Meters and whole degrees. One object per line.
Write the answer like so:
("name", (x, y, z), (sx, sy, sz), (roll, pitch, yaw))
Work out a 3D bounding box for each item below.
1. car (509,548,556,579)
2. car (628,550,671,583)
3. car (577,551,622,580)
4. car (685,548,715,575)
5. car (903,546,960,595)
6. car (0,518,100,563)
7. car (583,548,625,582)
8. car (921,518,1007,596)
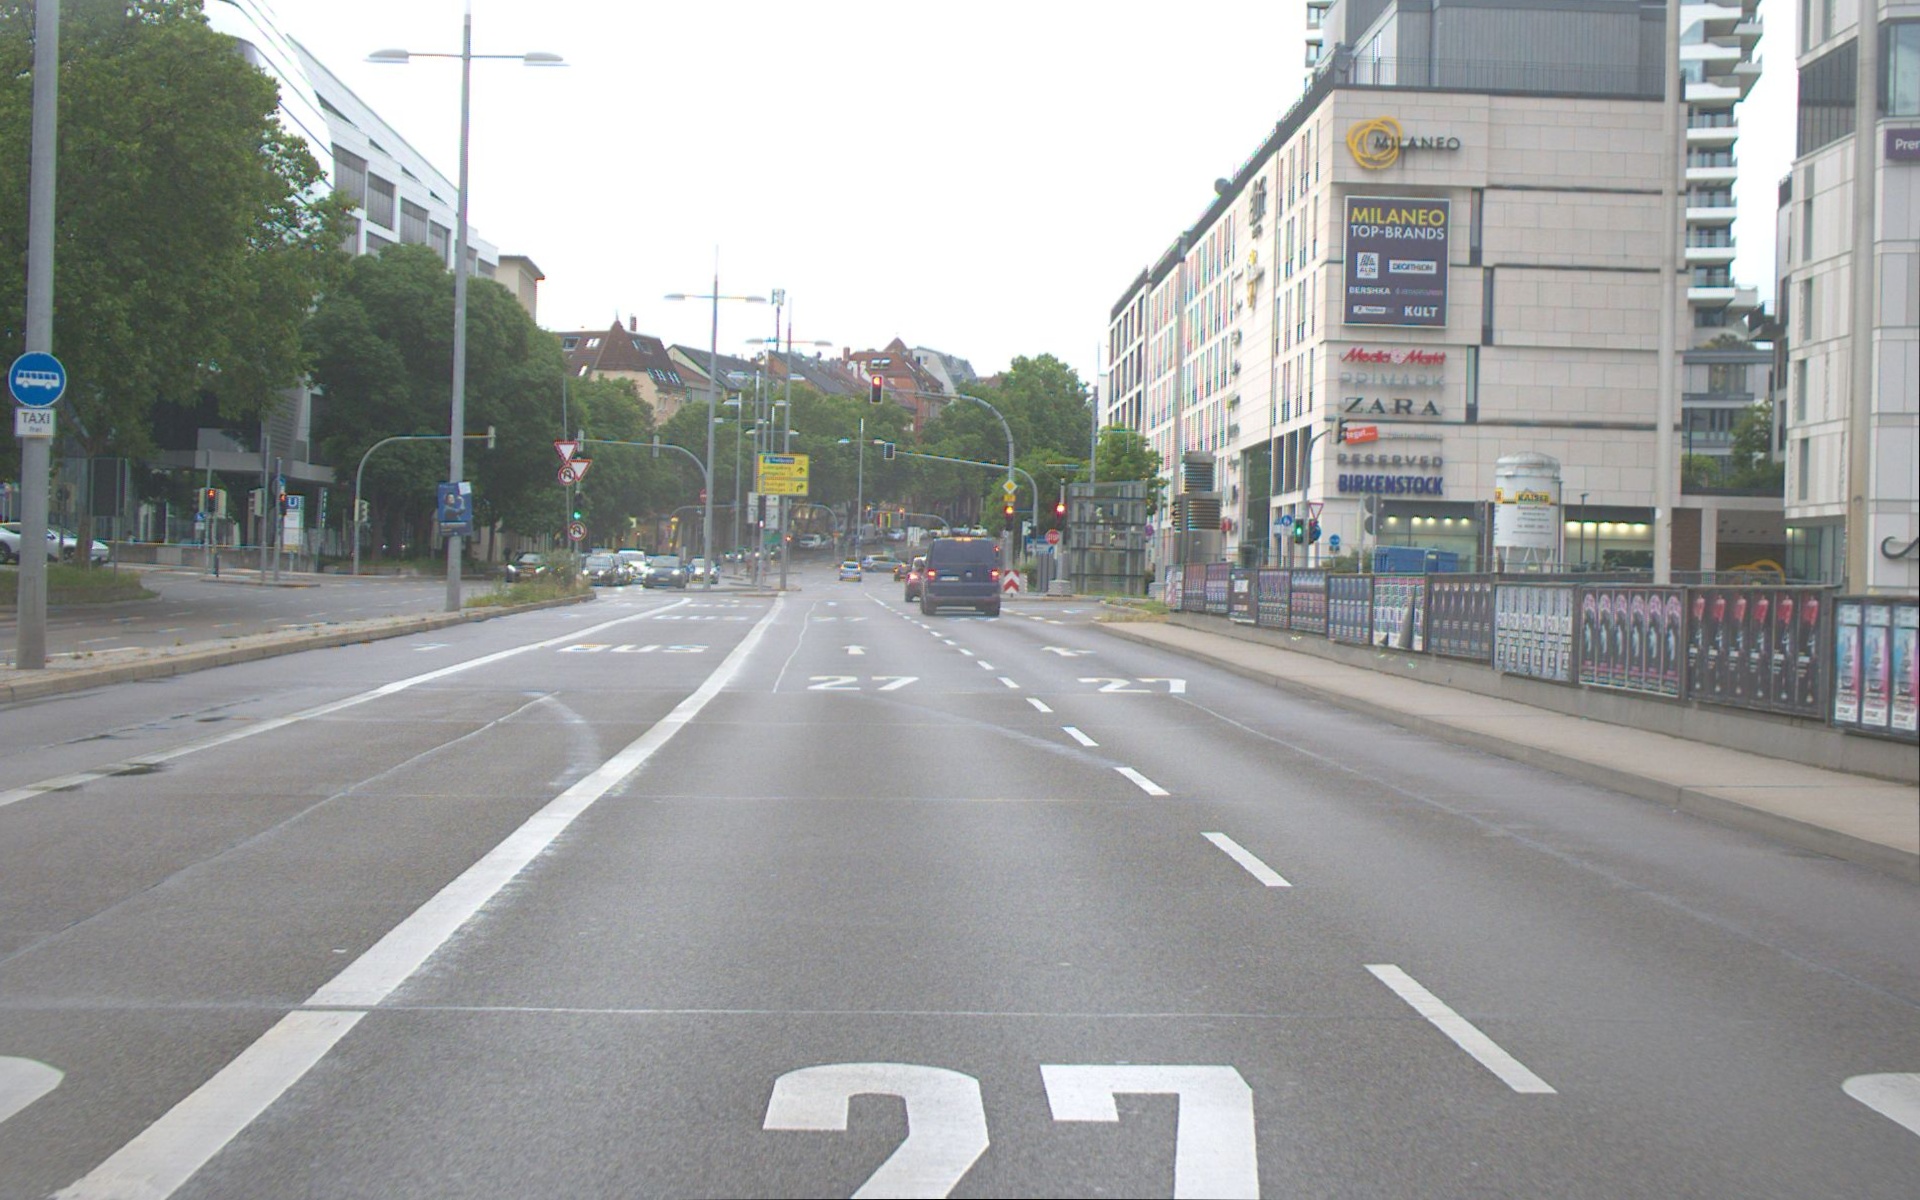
("car", (-19.721, -1.674, 158.694), (1.743, 1.324, 4.226), (1, 0, -2))
("car", (-14.289, -1.555, 158.244), (1.743, 1.439, 3.395), (1, 0, -2))
("car", (-16.695, -1.610, 159.308), (1.743, 1.253, 3.540), (2, 1, -2))
("car", (-15.101, -2.245, 199.919), (1.538, 1.472, 3.696), (1, 0, -2))
("car", (-0.947, -0.950, 112.376), (1.740, 1.526, 3.814), (1, 0, -2))
("car", (-35.365, -2.280, 131.385), (4.504, 1.626, 1.893), (1, 0, 15))
("car", (-17.222, -1.700, 166.275), (1.743, 1.553, 3.540), (1, 0, -2))
("car", (0.065, -1.131, 88.068), (2.033, 1.875, 5.042), (-2, 1, -1))
